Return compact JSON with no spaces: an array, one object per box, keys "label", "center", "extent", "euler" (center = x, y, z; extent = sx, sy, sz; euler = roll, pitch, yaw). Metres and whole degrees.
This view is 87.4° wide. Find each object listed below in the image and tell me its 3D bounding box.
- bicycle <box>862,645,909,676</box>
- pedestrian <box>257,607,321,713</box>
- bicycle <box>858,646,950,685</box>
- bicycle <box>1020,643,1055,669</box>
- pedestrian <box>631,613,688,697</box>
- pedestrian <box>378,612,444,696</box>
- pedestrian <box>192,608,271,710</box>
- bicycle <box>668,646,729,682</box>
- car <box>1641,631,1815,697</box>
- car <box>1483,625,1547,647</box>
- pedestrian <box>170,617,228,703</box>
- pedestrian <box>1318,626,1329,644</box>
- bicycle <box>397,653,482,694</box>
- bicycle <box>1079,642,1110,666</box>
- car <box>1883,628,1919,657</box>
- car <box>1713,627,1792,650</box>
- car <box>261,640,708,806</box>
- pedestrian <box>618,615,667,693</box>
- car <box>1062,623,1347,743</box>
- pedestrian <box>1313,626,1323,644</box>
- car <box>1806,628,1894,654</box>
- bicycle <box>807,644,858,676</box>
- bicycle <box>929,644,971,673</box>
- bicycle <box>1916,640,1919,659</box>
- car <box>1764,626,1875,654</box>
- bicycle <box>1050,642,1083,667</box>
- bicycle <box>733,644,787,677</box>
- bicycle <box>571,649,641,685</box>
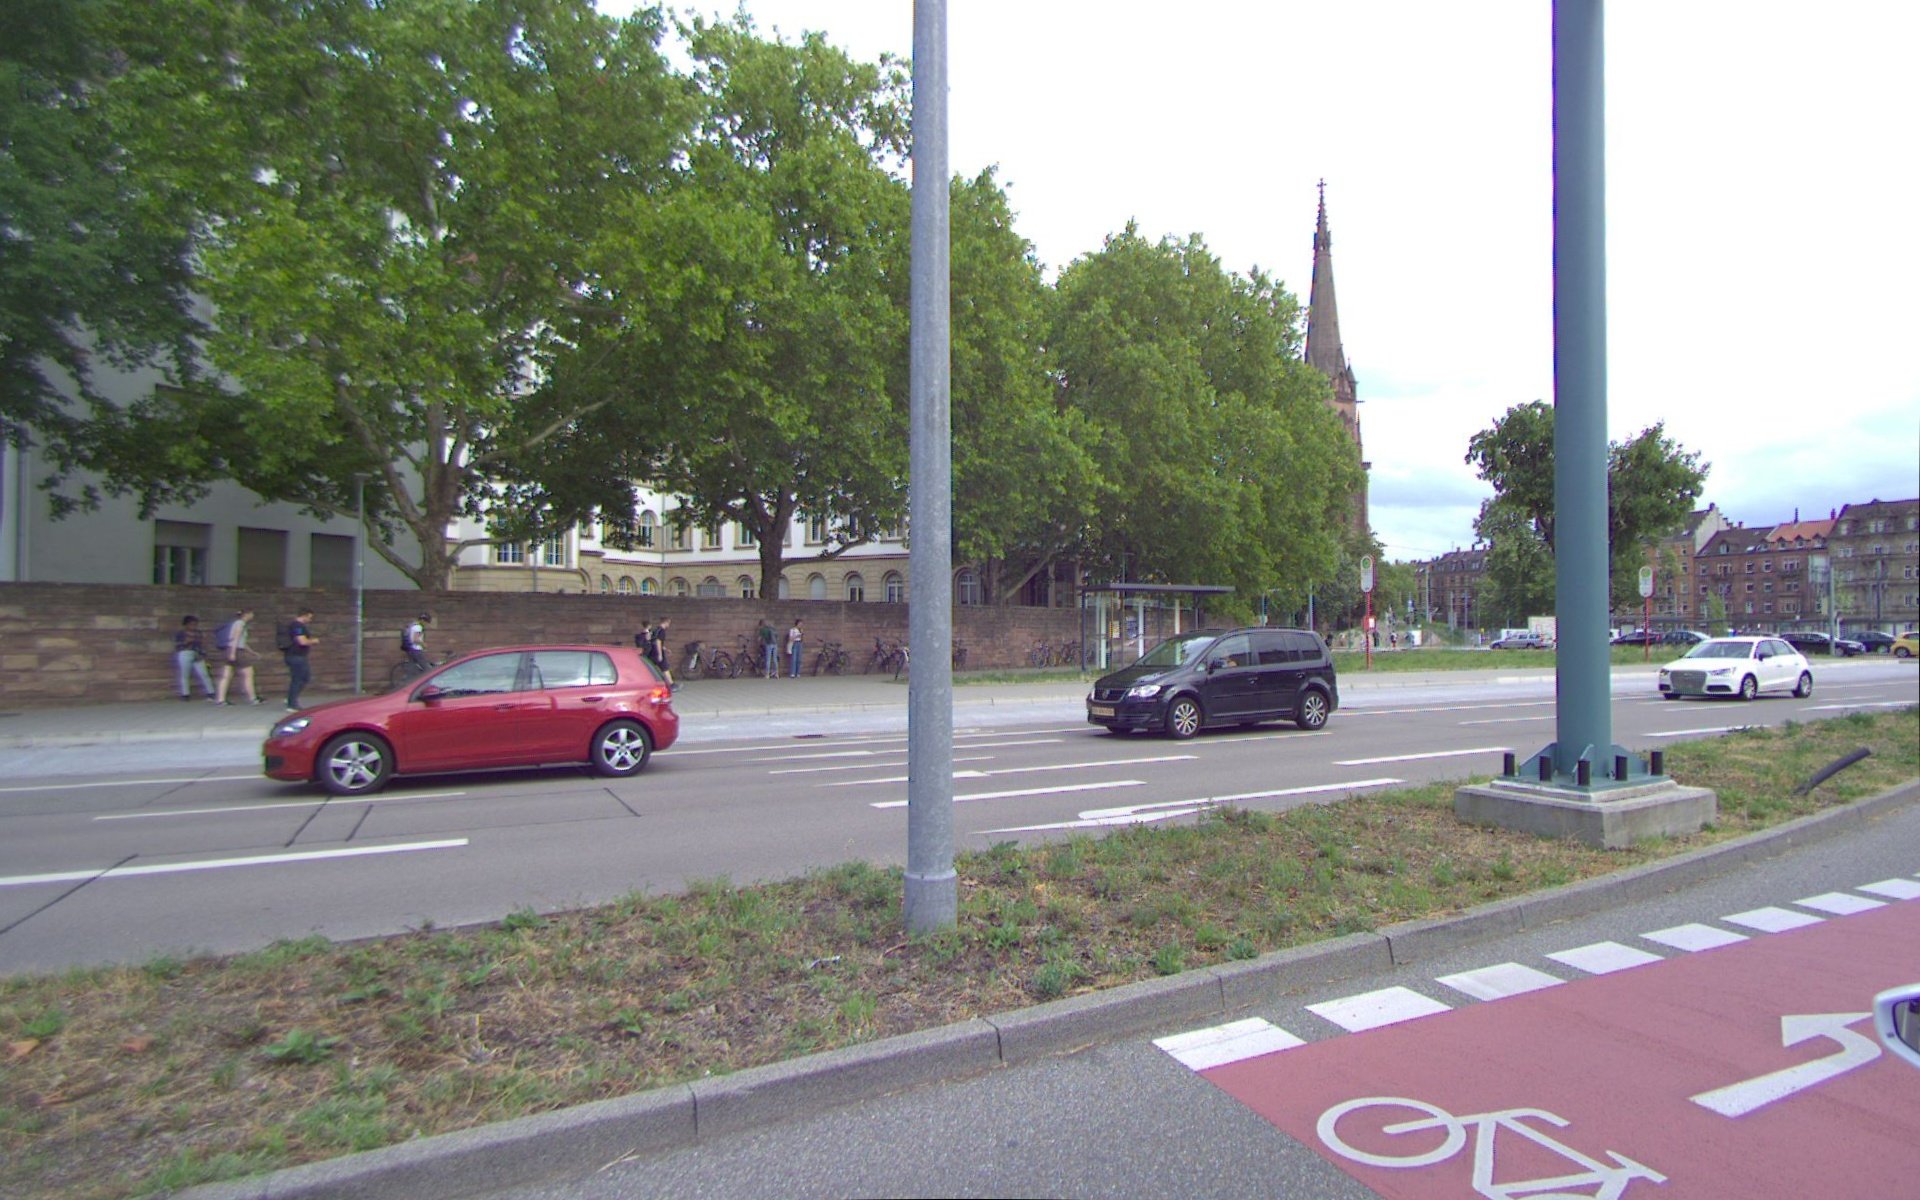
[{"label":"bicycle","center":[-2.334,1.894,31.591],"extent":[0.436,0.890,1.612],"euler":[2,0,42]},{"label":"pedestrian","center":[-11.745,1.057,17.592],"extent":[0.750,1.805,0.719],"euler":[-5,-5,39]},{"label":"bicycle","center":[-1.410,1.656,25.554],"extent":[2.303,0.931,0.469],"euler":[1,-1,-20]},{"label":"bicycle","center":[2.913,2.104,37.713],"extent":[0.475,0.919,1.614],"euler":[2,0,39]},{"label":"pedestrian","center":[-6.677,1.220,22.330],"extent":[0.748,1.806,0.921],"euler":[0,-2,34]},{"label":"pedestrian","center":[-11.485,1.120,21.021],"extent":[0.748,1.693,0.921],"euler":[0,-2,34]},{"label":"pedestrian","center":[-13.375,1.072,18.448],"extent":[0.748,1.806,0.912],"euler":[0,-2,34]},{"label":"bicycle","center":[-6.954,1.689,26.768],"extent":[1.545,0.890,0.412],"euler":[2,0,-45]},{"label":"car","center":[17.755,1.445,23.212],"extent":[3.871,1.407,1.665],"euler":[1,-3,-27]},{"label":"car","center":[44.156,2.848,79.991],"extent":[1.629,1.671,4.131],"euler":[1,-2,-32]},{"label":"pedestrian","center":[-14.628,1.148,19.304],"extent":[0.579,1.613,0.732],"euler":[0,-2,40]},{"label":"pedestrian","center":[31.943,3.062,88.247],"extent":[0.718,1.581,0.558],"euler":[1,-2,-33]},{"label":"bicycle","center":[-11.578,1.615,22.362],"extent":[1.610,0.838,0.436],"euler":[2,0,-45]},{"label":"bicycle","center":[5.488,2.184,41.013],"extent":[0.475,0.919,1.614],"euler":[2,0,39]},{"label":"car","center":[53.032,2.311,54.670],"extent":[1.641,1.537,3.836],"euler":[1,0,-31]},{"label":"car","center":[51.564,2.487,65.426],"extent":[1.566,1.413,3.743],"euler":[1,0,-31]},{"label":"car","center":[-5.178,1.235,11.318],"extent":[4.237,1.509,1.794],"euler":[1,-2,-30]},{"label":"pedestrian","center":[-7.617,1.289,24.115],"extent":[0.748,1.806,0.781],"euler":[0,-2,35]},{"label":"car","center":[3.918,1.251,16.006],"extent":[4.244,1.687,1.796],"euler":[1,-3,-27]},{"label":"pedestrian","center":[31.824,3.073,89.299],"extent":[0.718,1.581,0.558],"euler":[1,-2,-33]},{"label":"car","center":[54.213,2.477,61.239],"extent":[1.566,1.413,3.743],"euler":[1,0,-31]},{"label":"bicycle","center":[-3.799,1.788,29.958],"extent":[0.436,0.890,1.612],"euler":[2,0,42]},{"label":"bicycle","center":[-0.327,1.960,33.872],"extent":[0.475,0.919,1.613],"euler":[2,0,40]},{"label":"bicycle","center":[51.370,2.602,52.481],"extent":[0.624,0.995,1.954],"euler":[1,-2,-31]},{"label":"car","center":[50.251,2.306,58.826],"extent":[1.641,1.495,4.645],"euler":[1,0,-31]},{"label":"bicycle","center":[4.194,2.145,39.492],"extent":[0.475,0.919,1.614],"euler":[2,0,39]},{"label":"bicycle","center":[-5.591,1.686,28.140],"extent":[1.512,0.890,0.343],"euler":[2,0,-45]},{"label":"bicycle","center":[-8.804,1.651,25.006],"extent":[1.610,0.838,0.436],"euler":[2,0,-45]}]
